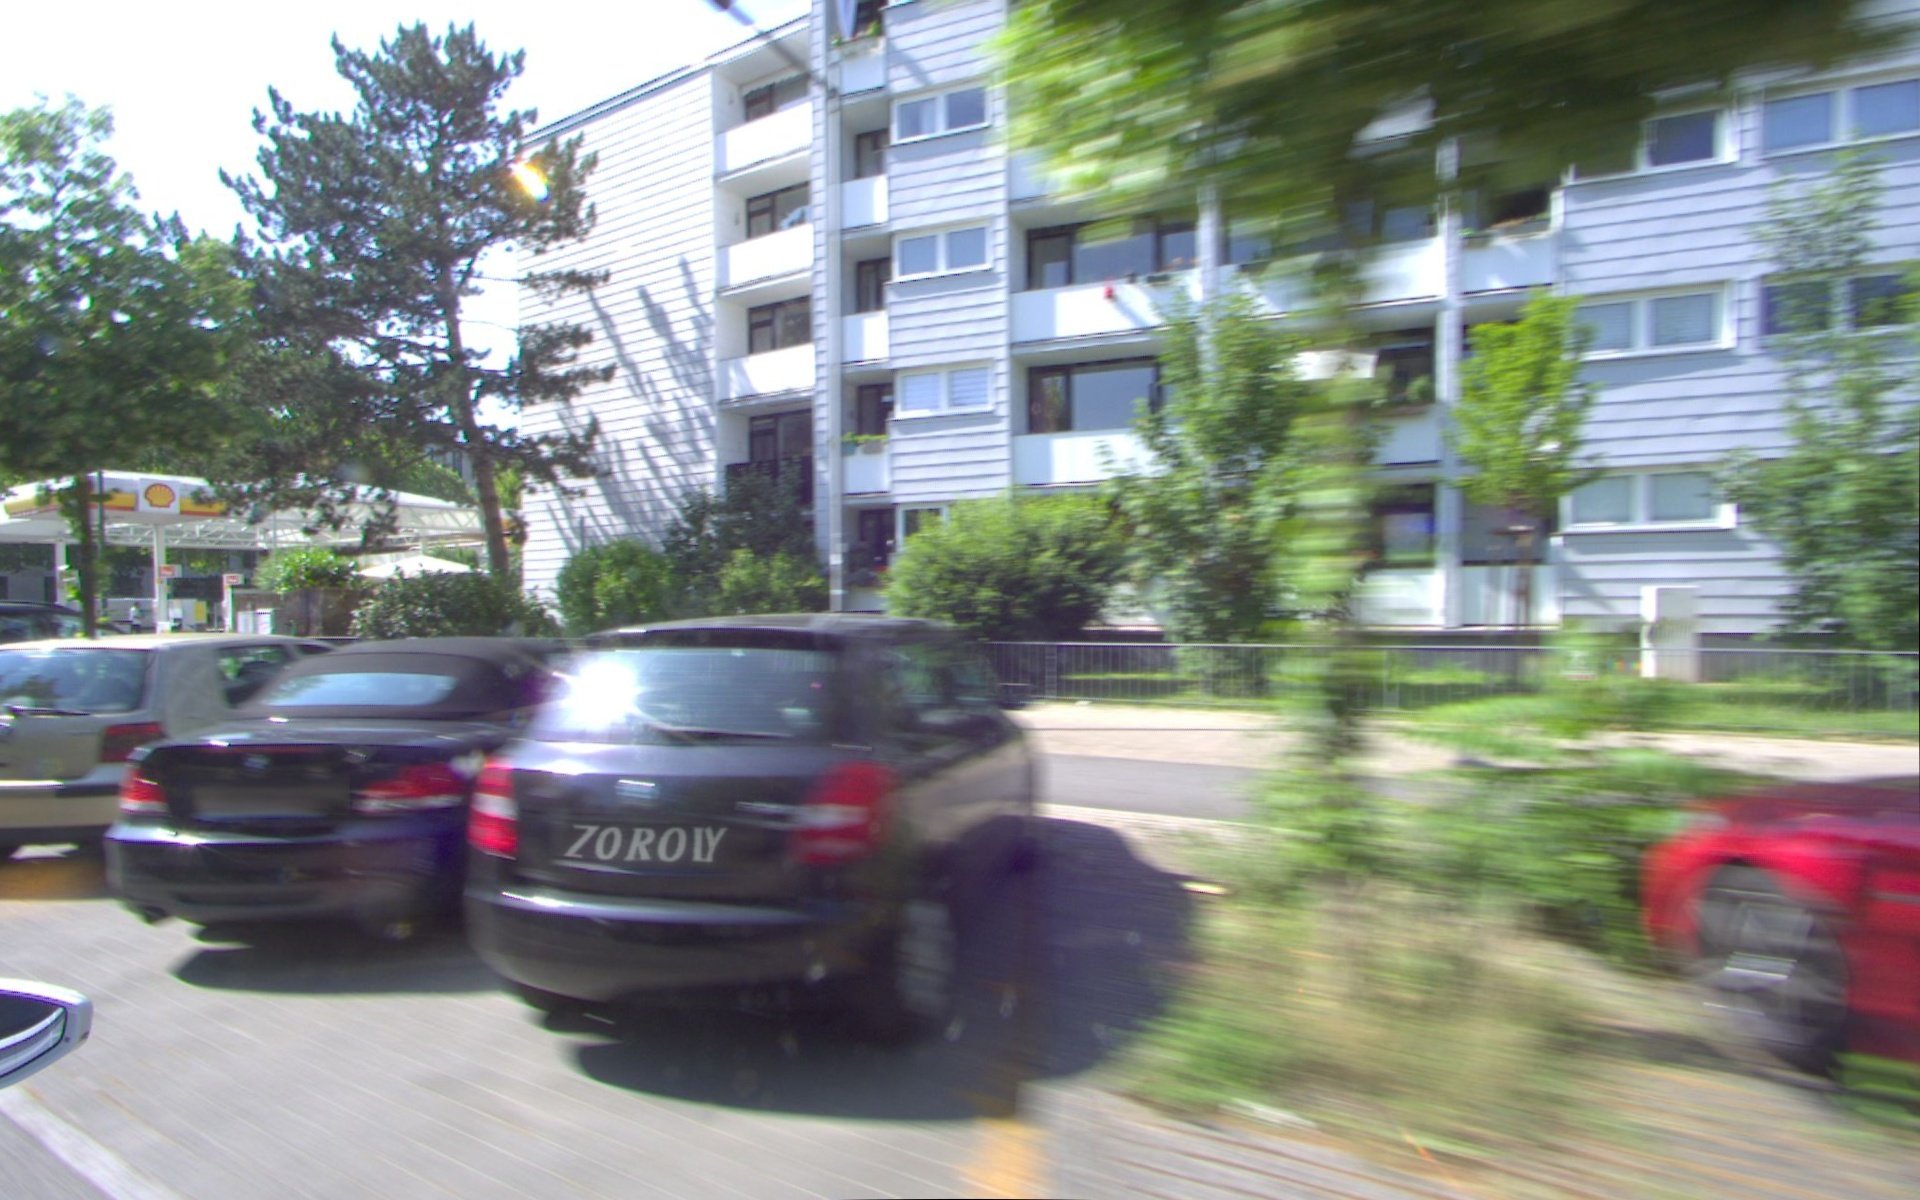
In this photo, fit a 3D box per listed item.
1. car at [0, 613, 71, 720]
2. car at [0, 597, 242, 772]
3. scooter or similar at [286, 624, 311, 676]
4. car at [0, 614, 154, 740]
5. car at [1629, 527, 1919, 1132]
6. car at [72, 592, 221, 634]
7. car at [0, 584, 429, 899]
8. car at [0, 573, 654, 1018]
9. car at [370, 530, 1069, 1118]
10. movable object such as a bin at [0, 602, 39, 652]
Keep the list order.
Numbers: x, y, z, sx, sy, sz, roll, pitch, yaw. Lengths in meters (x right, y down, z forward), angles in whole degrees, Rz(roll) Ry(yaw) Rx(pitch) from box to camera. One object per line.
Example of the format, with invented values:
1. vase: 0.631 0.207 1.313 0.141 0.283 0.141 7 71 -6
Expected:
1. car: -15.045 0.966 13.603 1.962 1.550 4.115 0 0 10
2. car: -10.092 0.818 10.538 1.719 1.682 4.745 -1 0 -2
3. scooter or similar: -15.502 1.162 23.463 0.946 1.181 0.229 0 1 40
4. car: -12.379 0.939 12.166 1.735 1.493 3.999 0 0 5
5. car: 3.593 0.607 1.879 1.844 1.661 3.999 -1 0 -3
6. car: -55.940 0.824 69.075 2.858 2.710 7.420 0 1 29
7. car: -5.581 0.758 7.238 1.719 1.661 3.998 -1 0 -7
8. car: -3.076 0.725 5.780 1.719 1.662 3.998 0 0 -5
9. car: -0.584 0.642 4.974 1.767 1.662 3.996 0 0 13
10. movable object such as a bin: -32.546 0.923 34.112 1.375 1.614 1.305 0 3 29
